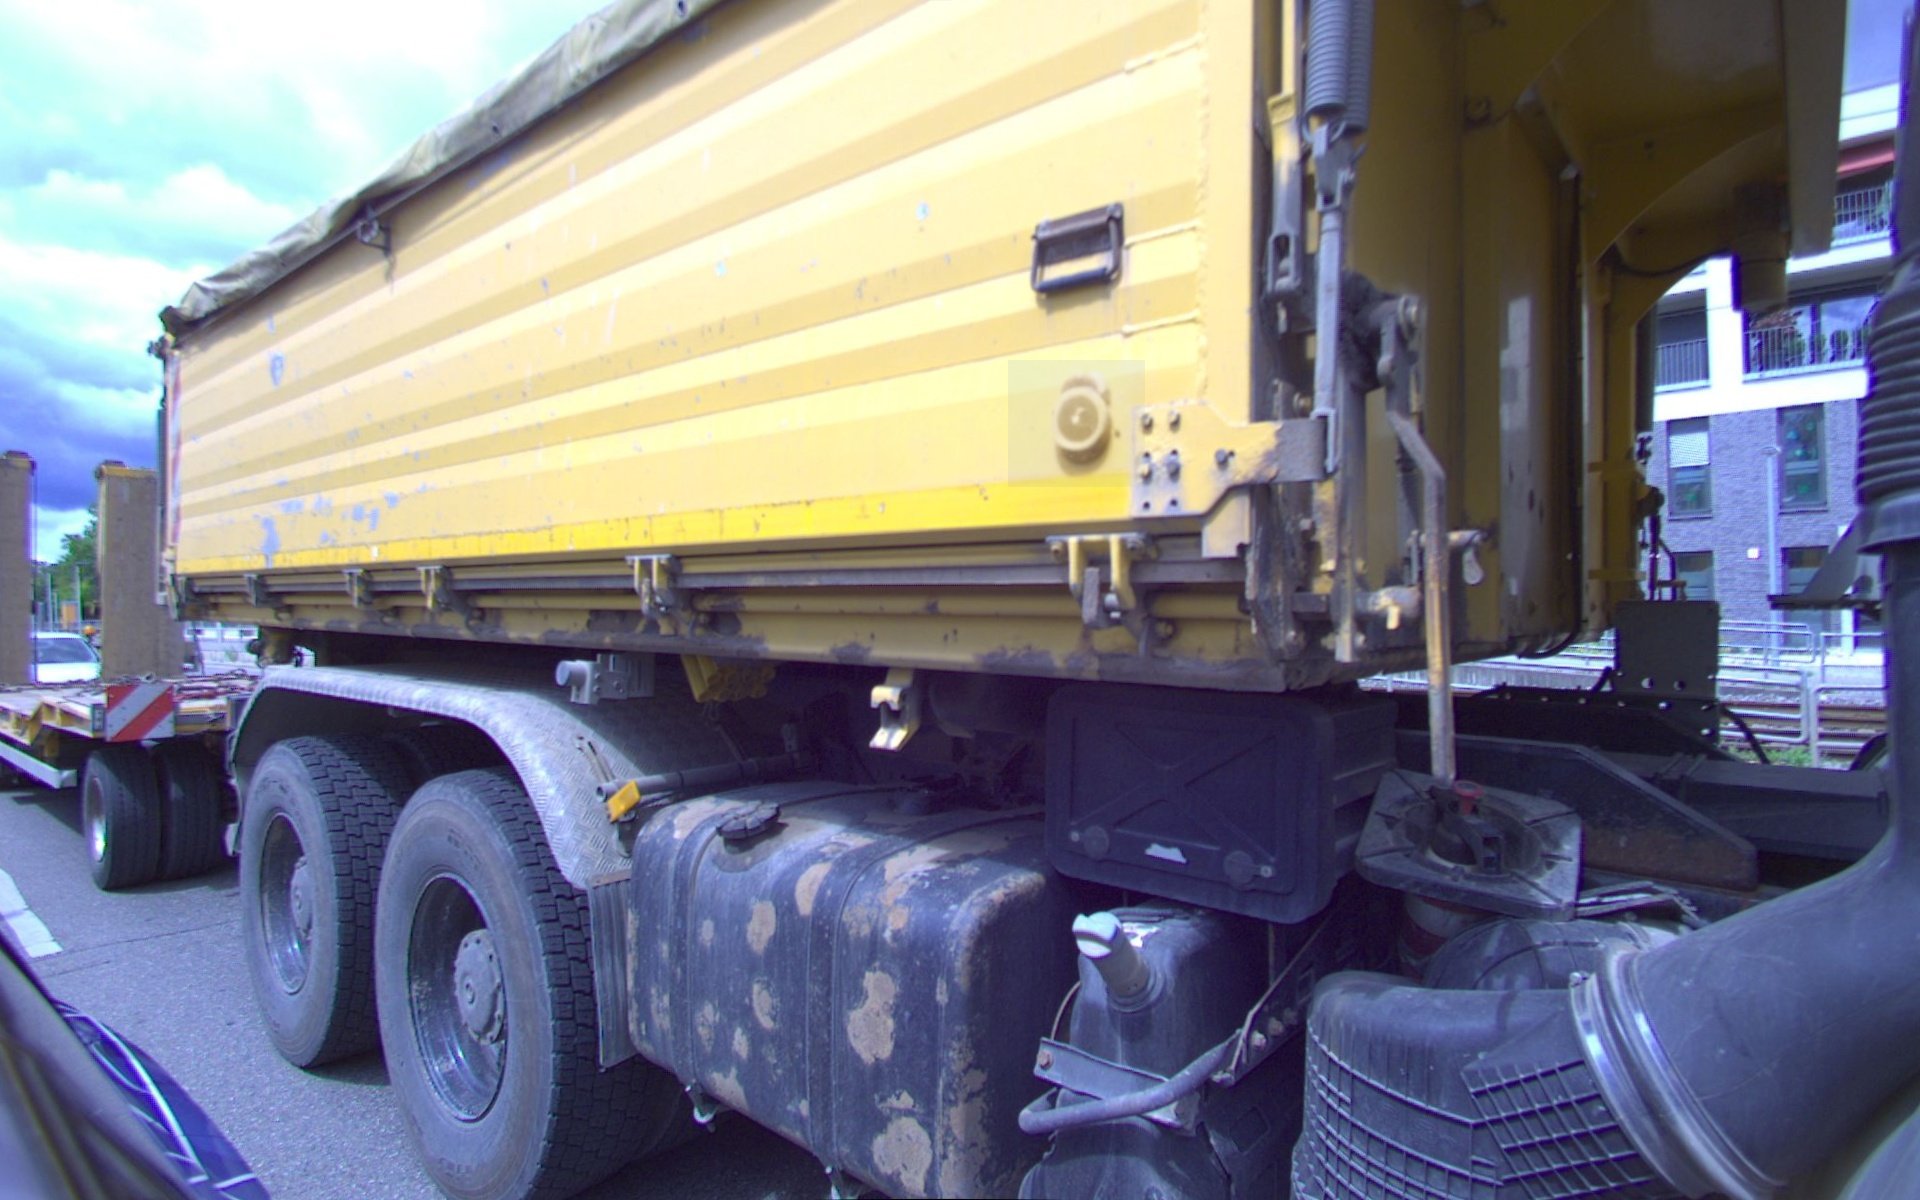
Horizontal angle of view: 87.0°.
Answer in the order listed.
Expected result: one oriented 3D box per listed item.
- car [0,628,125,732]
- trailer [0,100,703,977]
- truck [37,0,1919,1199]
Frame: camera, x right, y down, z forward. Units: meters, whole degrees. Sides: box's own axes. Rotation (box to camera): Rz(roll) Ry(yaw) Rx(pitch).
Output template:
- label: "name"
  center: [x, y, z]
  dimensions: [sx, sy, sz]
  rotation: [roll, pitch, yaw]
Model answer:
- label: "car"
  center: [-14.654, 1.193, 15.928]
  dimensions: [3.784, 1.427, 1.761]
  rotation: [-2, -1, 41]
- label: "trailer"
  center: [-6.849, -0.141, 9.004]
  dimensions: [10.957, 3.726, 3.018]
  rotation: [-2, -1, 40]
- label: "truck"
  center: [0.128, -0.225, 2.857]
  dimensions: [7.999, 3.420, 3.019]
  rotation: [-2, -1, 40]
